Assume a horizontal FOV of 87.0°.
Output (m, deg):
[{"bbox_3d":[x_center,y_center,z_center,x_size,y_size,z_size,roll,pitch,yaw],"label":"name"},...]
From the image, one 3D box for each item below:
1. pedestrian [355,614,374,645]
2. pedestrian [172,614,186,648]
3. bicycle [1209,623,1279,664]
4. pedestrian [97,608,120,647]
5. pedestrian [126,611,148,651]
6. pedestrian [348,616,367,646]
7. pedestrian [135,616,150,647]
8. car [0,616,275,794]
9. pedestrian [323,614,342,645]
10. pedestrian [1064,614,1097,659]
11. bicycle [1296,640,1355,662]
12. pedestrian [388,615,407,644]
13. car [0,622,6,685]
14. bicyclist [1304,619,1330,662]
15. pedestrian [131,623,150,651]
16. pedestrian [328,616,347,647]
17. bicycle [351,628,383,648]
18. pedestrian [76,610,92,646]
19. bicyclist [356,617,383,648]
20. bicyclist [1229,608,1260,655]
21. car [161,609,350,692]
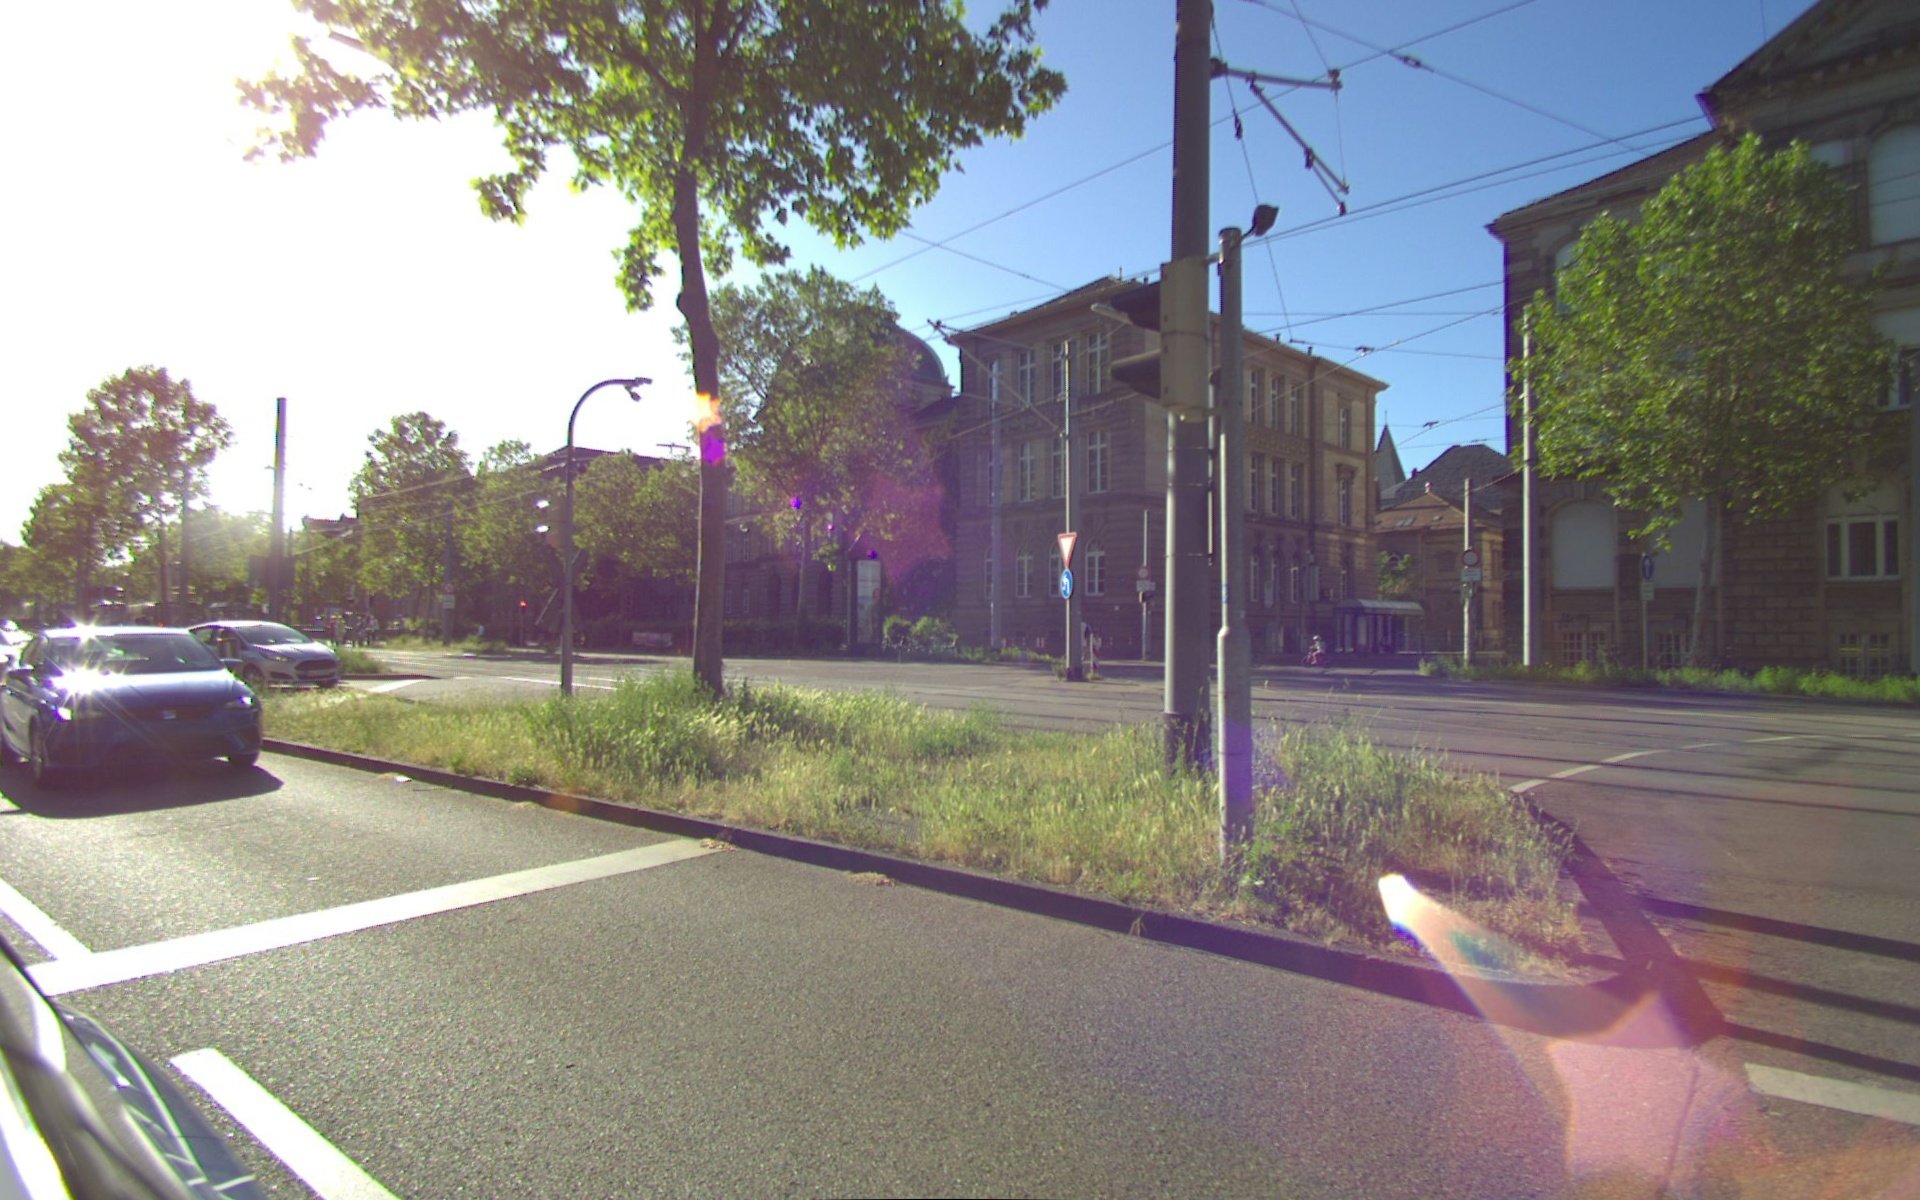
[{"bbox_3d":[-34.092,1.663,57.974,0.693,1.749,0.592,-1,0,13],"label":"pedestrian"},{"bbox_3d":[-40.007,1.578,51.854,0.536,1.674,0.731,-1,0,-40],"label":"pedestrian"},{"bbox_3d":[10.107,1.530,36.053,2.346,1.400,0.520,-1,0,36],"label":"bicycle"},{"bbox_3d":[-49.377,1.566,58.681,0.773,2.204,0.803,-1,0,-24],"label":"pedestrian"},{"bbox_3d":[-37.957,1.416,46.672,0.503,1.820,0.639,-1,0,36],"label":"pedestrian"},{"bbox_3d":[-33.804,1.731,56.778,0.692,1.656,0.592,-1,0,10],"label":"pedestrian"},{"bbox_3d":[-43.934,1.691,54.394,0.571,1.674,0.668,-1,0,-36],"label":"pedestrian"},{"bbox_3d":[-8.718,0.937,10.496,3.867,1.459,1.755,-2,0,41],"label":"car"},{"bbox_3d":[-36.226,1.687,58.386,0.693,1.758,0.592,-1,0,13],"label":"pedestrian"},{"bbox_3d":[5.033,1.505,42.333,0.852,1.814,1.003,-1,0,-43],"label":"pedestrian"},{"bbox_3d":[12.914,1.800,35.760,1.894,0.727,0.521,-1,0,30],"label":"bicycle"},{"bbox_3d":[-31.861,1.667,57.326,0.693,1.633,0.592,-1,0,13],"label":"pedestrian"},{"bbox_3d":[-24.432,1.300,24.565,1.773,1.439,4.003,-1,0,-44],"label":"car"},{"bbox_3d":[12.671,1.435,35.922,0.727,1.473,0.789,-1,0,31],"label":"bicyclist"},{"bbox_3d":[-37.510,1.699,46.337,0.424,1.242,0.587,-1,0,36],"label":"pedestrian"},{"bbox_3d":[-35.240,1.775,57.258,0.693,1.689,0.592,-1,0,13],"label":"pedestrian"},{"bbox_3d":[-32.223,2.059,55.011,0.539,1.049,1.656,0,0,14],"label":"bicycle"},{"bbox_3d":[-51.633,1.643,59.645,0.701,2.029,0.788,-1,0,-43],"label":"pedestrian"},{"bbox_3d":[-32.122,1.771,55.046,0.827,1.656,0.965,-1,0,13],"label":"bicyclist"},{"bbox_3d":[10.114,1.113,36.020,0.869,1.636,0.668,-2,-1,35],"label":"bicyclist"},{"bbox_3d":[-14.937,1.028,21.440,3.843,1.607,1.653,-1,0,27],"label":"car"}]
